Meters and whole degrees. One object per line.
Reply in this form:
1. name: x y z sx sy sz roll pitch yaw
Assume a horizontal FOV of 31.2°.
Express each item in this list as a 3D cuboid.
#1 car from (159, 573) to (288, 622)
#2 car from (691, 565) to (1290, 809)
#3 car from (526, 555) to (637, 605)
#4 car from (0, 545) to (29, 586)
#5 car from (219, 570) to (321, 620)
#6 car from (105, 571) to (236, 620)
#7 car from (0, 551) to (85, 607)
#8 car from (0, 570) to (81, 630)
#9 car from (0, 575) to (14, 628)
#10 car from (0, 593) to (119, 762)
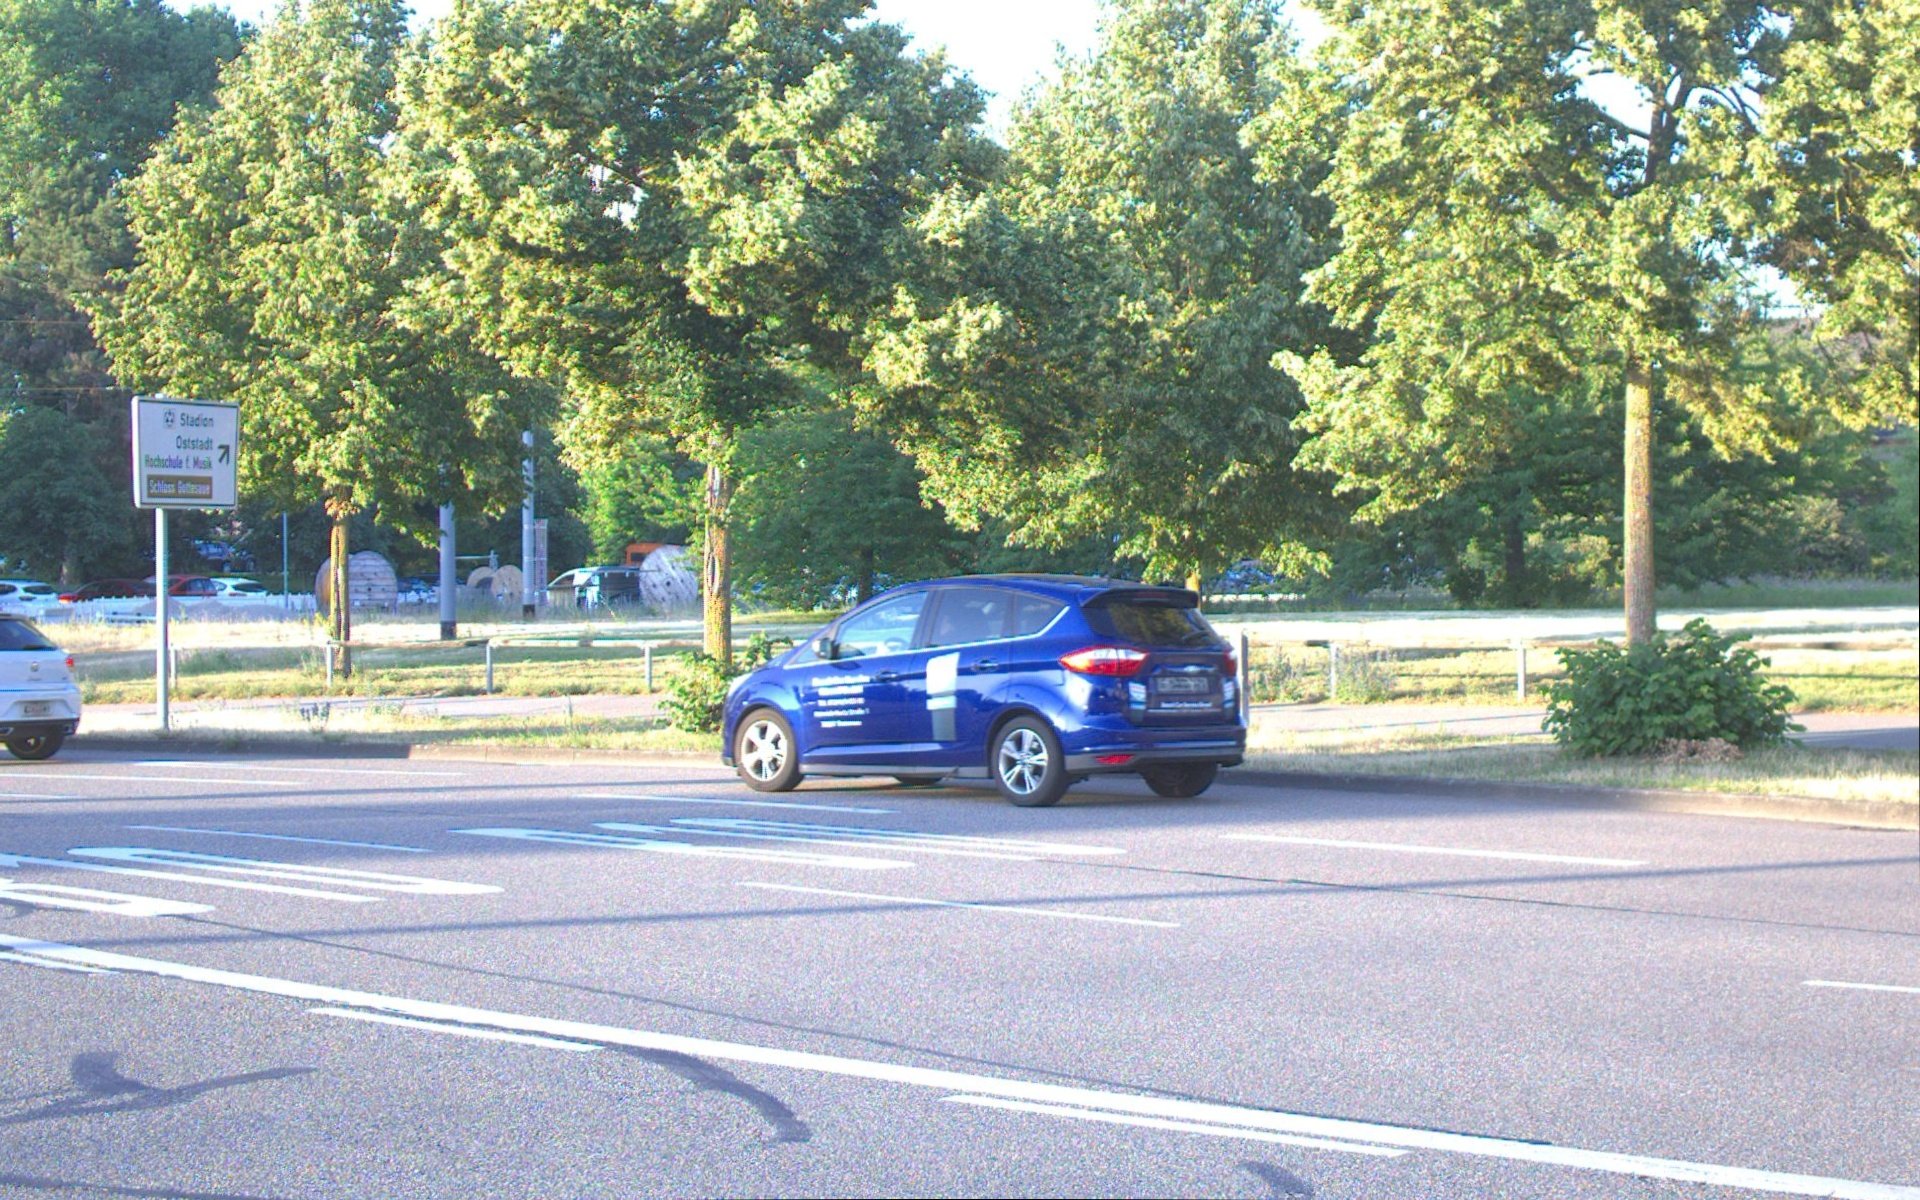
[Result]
1. car: -24.796 -0.108 115.783 3.994 1.598 1.996 0 1 33
2. car: 0.156 0.565 25.094 4.178 1.578 1.911 1 1 43
3. car: -12.658 -0.680 114.783 1.734 1.612 3.998 -1 1 -40
4. car: -41.694 -1.454 145.406 3.988 1.700 2.000 0 1 7
5. car: -25.891 -0.199 128.881 1.994 1.746 4.597 -1 2 -37
6. car: -26.208 -0.165 114.060 3.994 1.598 1.996 0 1 33
7. car: -34.502 -0.768 125.826 4.582 2.007 2.001 -1 1 -8
8. car: -32.563 0.006 117.670 4.582 2.007 2.001 -1 1 -8
9. car: -31.085 0.052 105.168 3.994 1.598 1.996 0 1 33
10. car: -9.881 0.678 31.449 3.964 1.449 1.865 0 1 26
